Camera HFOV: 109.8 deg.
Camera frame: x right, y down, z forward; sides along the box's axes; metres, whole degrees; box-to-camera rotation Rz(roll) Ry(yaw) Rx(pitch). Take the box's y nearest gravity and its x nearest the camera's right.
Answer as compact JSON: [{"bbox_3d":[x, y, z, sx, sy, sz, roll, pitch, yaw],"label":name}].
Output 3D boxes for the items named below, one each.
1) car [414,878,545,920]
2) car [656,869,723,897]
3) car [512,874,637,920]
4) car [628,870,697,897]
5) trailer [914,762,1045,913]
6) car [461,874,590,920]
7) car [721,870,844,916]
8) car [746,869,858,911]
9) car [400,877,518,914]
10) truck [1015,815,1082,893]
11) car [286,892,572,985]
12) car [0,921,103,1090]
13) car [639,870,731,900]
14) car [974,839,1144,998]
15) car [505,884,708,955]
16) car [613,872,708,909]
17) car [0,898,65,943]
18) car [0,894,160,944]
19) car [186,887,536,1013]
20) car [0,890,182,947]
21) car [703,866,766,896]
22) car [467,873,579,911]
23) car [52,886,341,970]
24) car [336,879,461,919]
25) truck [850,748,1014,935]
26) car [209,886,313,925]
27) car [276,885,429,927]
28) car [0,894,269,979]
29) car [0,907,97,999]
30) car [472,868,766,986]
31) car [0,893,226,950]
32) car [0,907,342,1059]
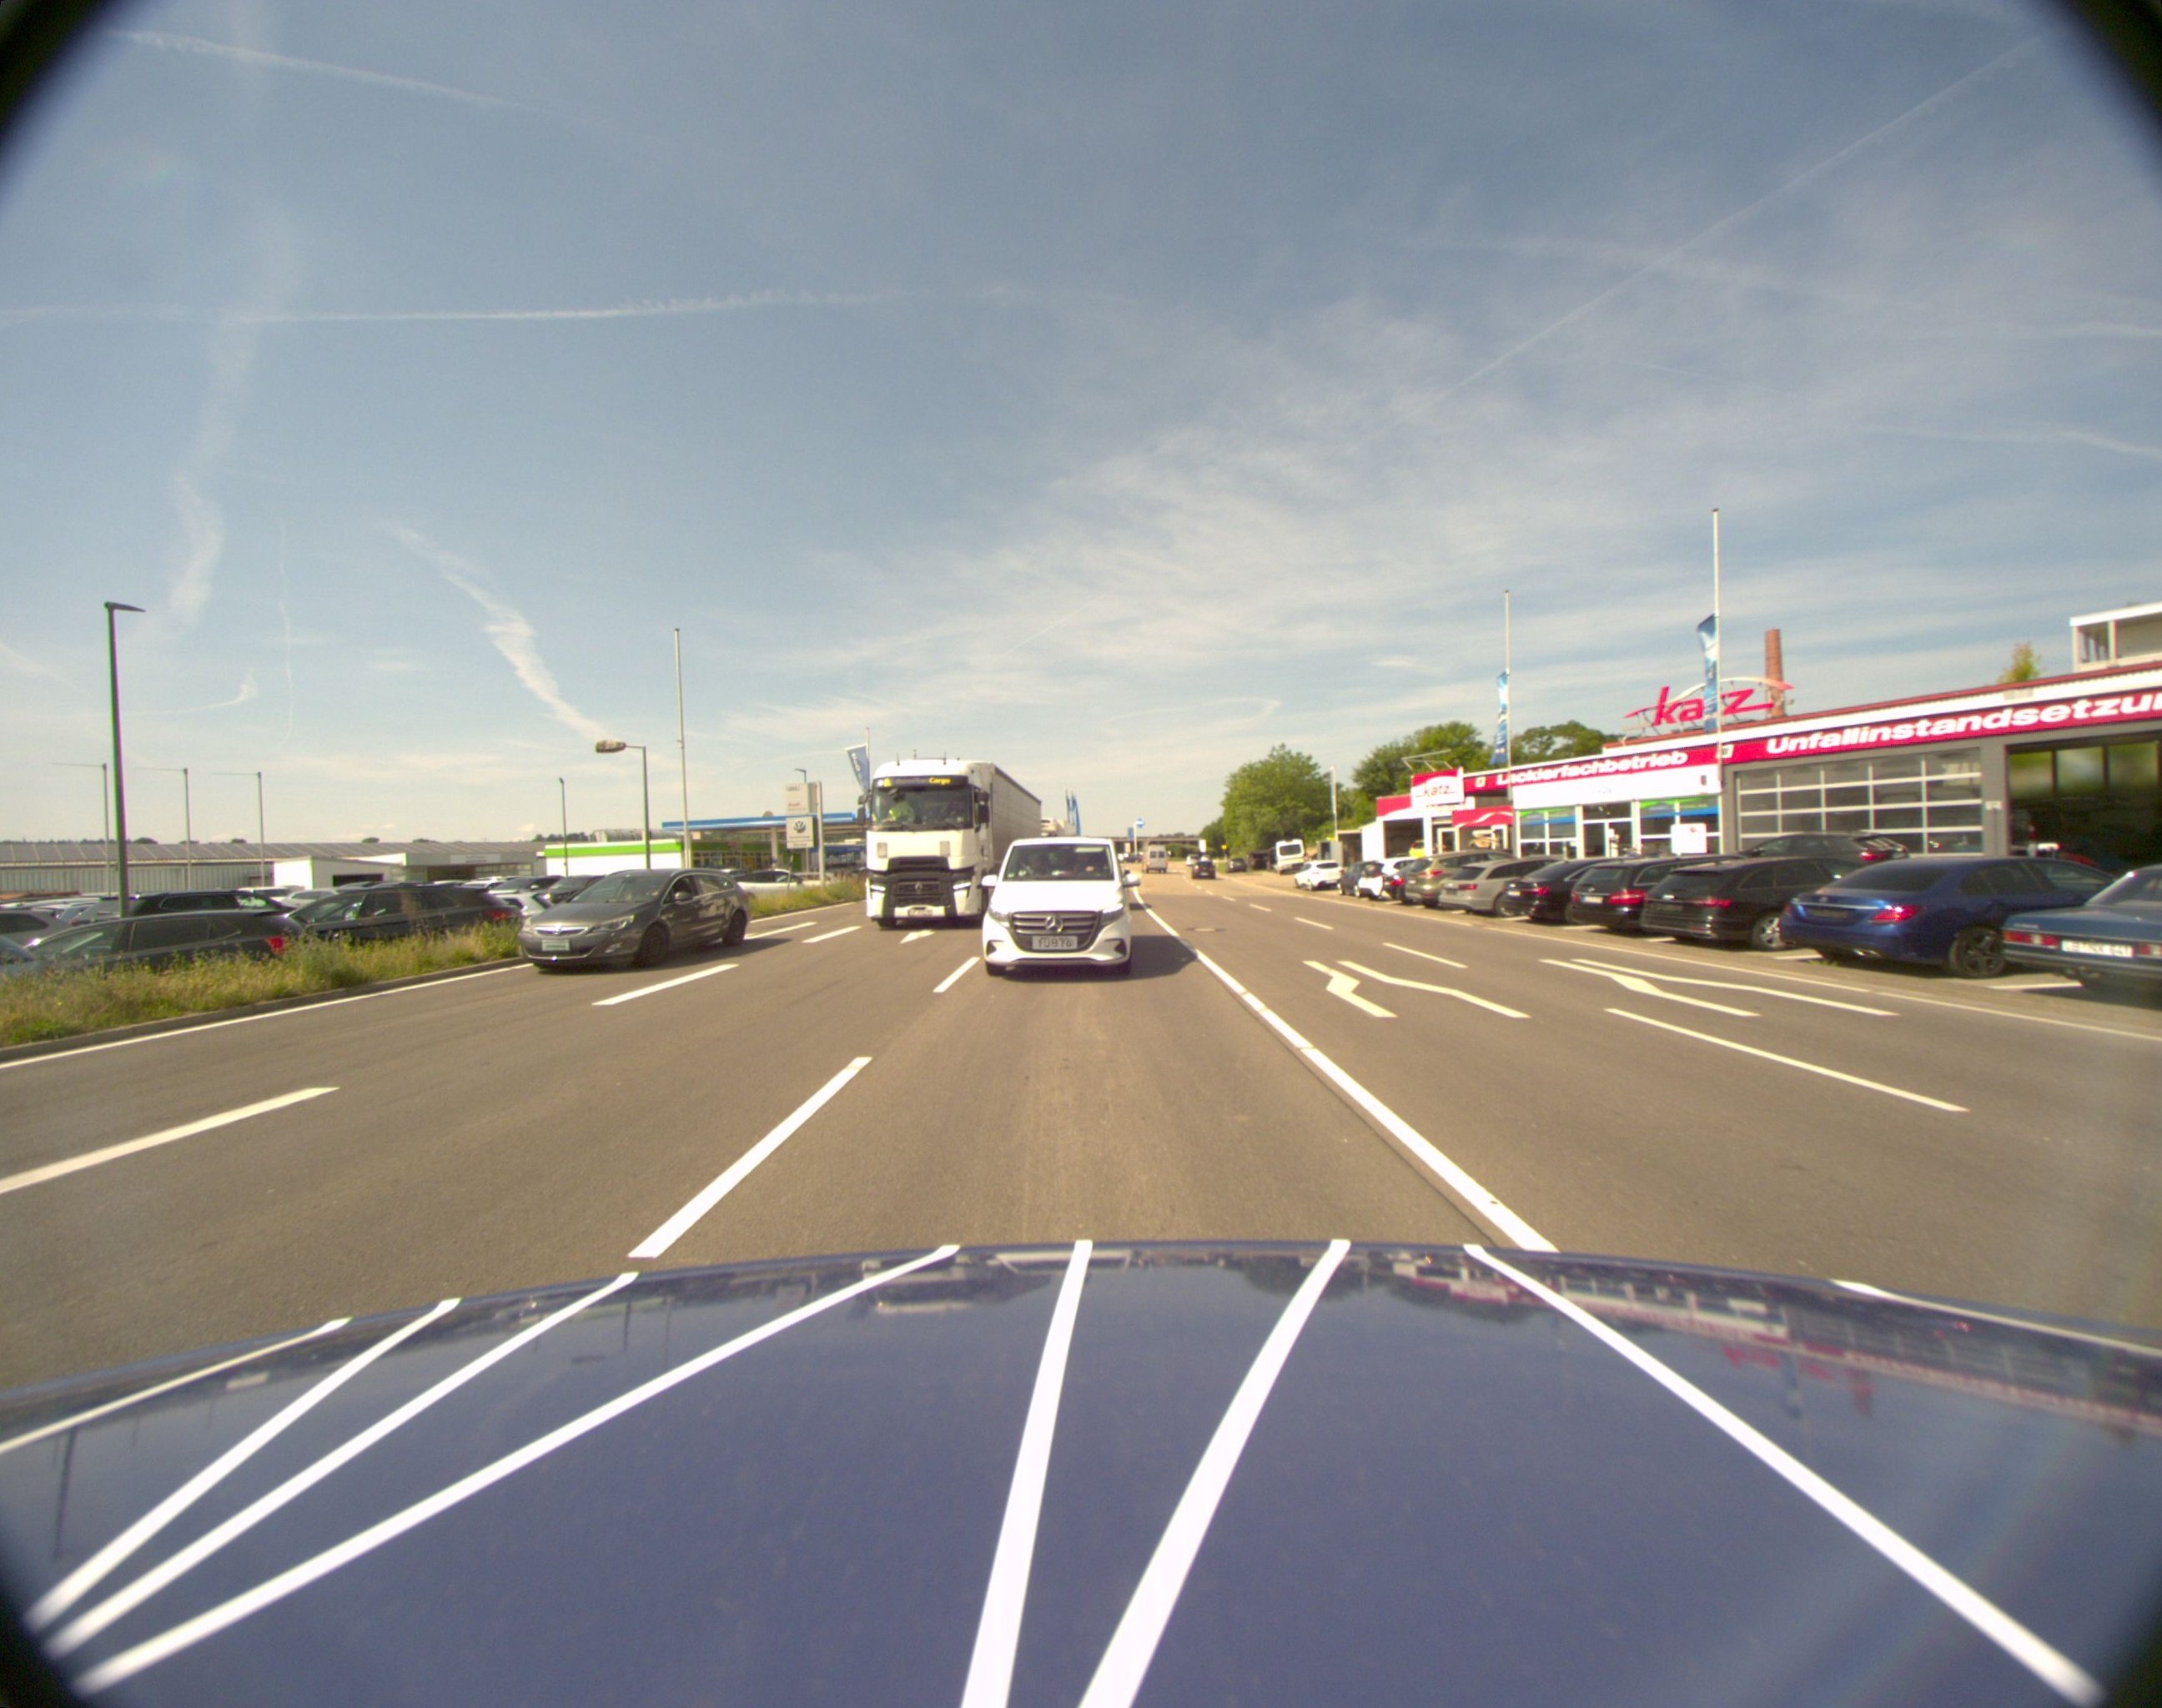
[{"bbox_3d":[-25.845,1.882,32.867,1.689,1.517,4.540,-1,0,6],"label":"car"},{"bbox_3d":[-24.958,1.824,48.615,1.774,1.571,4.240,-1,0,6],"label":"car"},{"bbox_3d":[-20.904,1.716,31.636,1.774,1.644,4.540,-1,0,6],"label":"car"},{"bbox_3d":[-27.226,1.871,49.575,1.720,1.571,4.326,-1,0,6],"label":"car"},{"bbox_3d":[-3.122,-0.469,27.038,2.613,4.203,11.293,-1,0,2],"label":"trailer"},{"bbox_3d":[-23.413,1.768,32.288,1.774,1.644,4.540,-1,0,6],"label":"car"},{"bbox_3d":[-12.232,1.536,31.151,4.544,1.645,1.772,-1,0,-26],"label":"car"},{"bbox_3d":[-12.481,1.541,33.965,4.543,1.645,1.772,-1,0,-25],"label":"car"},{"bbox_3d":[-32.692,2.141,40.103,1.772,1.644,4.543,-1,0,17],"label":"car"},{"bbox_3d":[-1.683,-0.018,43.679,2.646,3.963,9.242,-1,0,4],"label":"truck"},{"bbox_3d":[-12.847,1.601,15.336,4.005,1.449,1.772,-1,0,-25],"label":"car"},{"bbox_3d":[-12.581,1.563,6.991,4.005,1.549,1.709,-1,0,-27],"label":"car"},{"bbox_3d":[-23.222,1.814,44.632,4.532,1.571,1.777,-1,0,8],"label":"car"},{"bbox_3d":[-0.228,0.771,11.959,1.993,1.858,5.803,-1,0,1],"label":"car"},{"bbox_3d":[-12.922,1.711,20.990,4.545,1.571,1.772,-1,0,-31],"label":"car"},{"bbox_3d":[-20.516,1.732,37.344,1.774,1.571,4.540,-1,0,6],"label":"car"},{"bbox_3d":[-42.856,2.614,30.153,4.527,1.644,2.072,-1,0,24],"label":"car"},{"bbox_3d":[-37.031,2.321,27.378,1.819,1.466,4.545,-1,0,22],"label":"car"},{"bbox_3d":[-11.845,1.483,12.942,4.006,1.645,1.772,-1,0,-32],"label":"car"},{"bbox_3d":[-33.675,2.089,25.251,1.819,1.574,4.545,-1,0,22],"label":"car"},{"bbox_3d":[-22.180,1.701,48.869,1.712,1.702,4.262,-1,0,6],"label":"car"},{"bbox_3d":[-28.081,1.864,38.440,1.773,1.644,4.541,-1,0,10],"label":"car"},{"bbox_3d":[-21.821,1.735,19.104,1.774,1.644,4.539,-1,0,4],"label":"car"},{"bbox_3d":[-30.691,1.979,34.343,1.607,1.523,4.131,-1,0,6],"label":"car"},{"bbox_3d":[-3.478,-0.269,19.361,2.647,3.963,6.042,-1,0,2],"label":"truck"},{"bbox_3d":[-40.156,2.500,37.199,4.527,1.718,2.072,-1,0,24],"label":"car"},{"bbox_3d":[-27.626,1.969,28.880,4.530,1.450,1.951,-1,0,12],"label":"car"},{"bbox_3d":[-24.092,1.992,19.405,1.774,1.644,4.434,-1,0,4],"label":"car"},{"bbox_3d":[-21.394,1.939,13.445,1.908,1.644,4.708,-1,0,-3],"label":"car"},{"bbox_3d":[-7.289,1.046,12.681,1.998,1.511,4.450,-1,0,3],"label":"car"},{"bbox_3d":[-31.254,2.078,24.509,1.819,1.423,4.491,-1,0,22],"label":"car"},{"bbox_3d":[-12.612,1.614,9.899,4.007,1.543,1.771,-1,0,-35],"label":"car"}]
